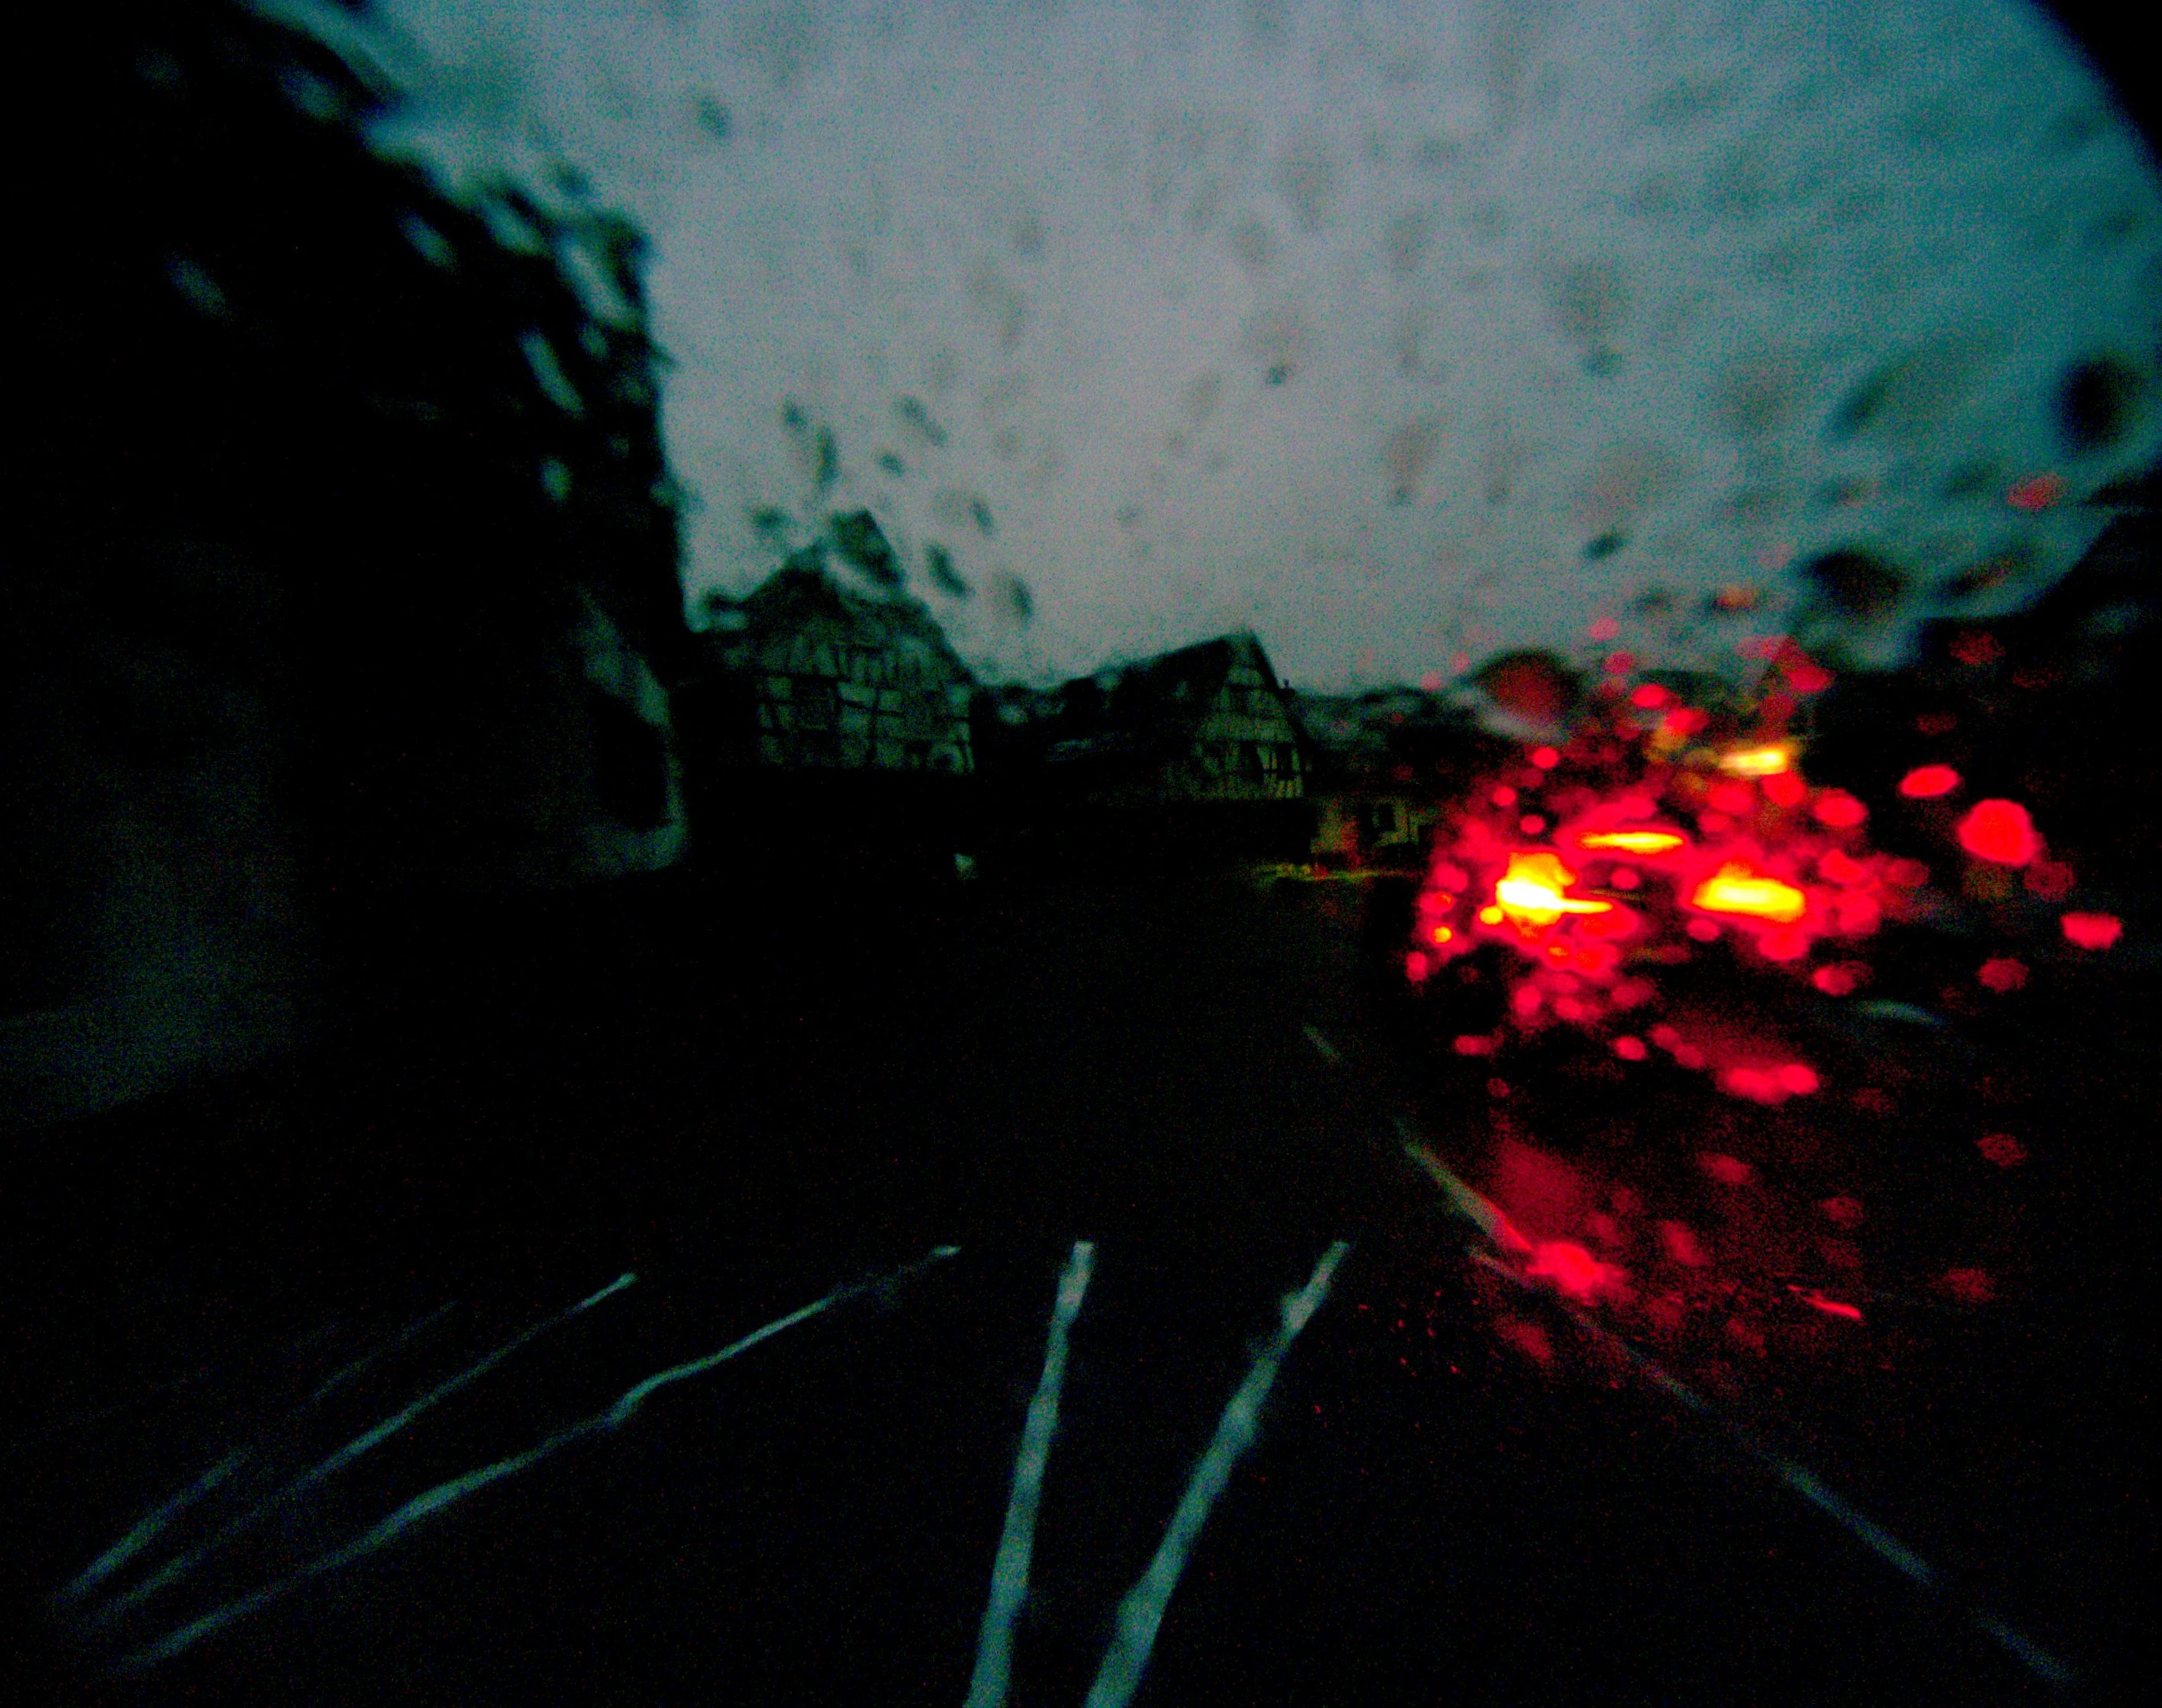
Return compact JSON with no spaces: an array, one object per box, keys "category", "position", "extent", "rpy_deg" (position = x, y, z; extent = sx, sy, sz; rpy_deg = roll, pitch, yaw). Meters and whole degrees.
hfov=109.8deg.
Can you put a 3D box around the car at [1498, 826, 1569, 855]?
[{"category":"car","position":[26.255,-0.825,44.175],"extent":[1.650,1.498,3.485],"rpy_deg":[-2,4,-10]}]

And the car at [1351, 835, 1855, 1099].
[{"category":"car","position":[4.013,0.671,6.987],"extent":[1.881,1.603,4.604],"rpy_deg":[-1,1,7]}]

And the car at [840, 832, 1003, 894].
[{"category":"car","position":[-4.297,0.260,20.582],"extent":[3.991,1.507,1.593],"rpy_deg":[2,2,-27]}]

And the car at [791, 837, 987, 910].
[{"category":"car","position":[-4.332,0.428,17.093],"extent":[4.042,1.413,1.811],"rpy_deg":[2,2,-20]}]

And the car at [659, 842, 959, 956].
[{"category":"car","position":[-3.994,0.642,11.486],"extent":[3.898,1.442,1.884],"rpy_deg":[2,2,-20]}]

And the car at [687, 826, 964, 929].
[{"category":"car","position":[-4.594,0.418,13.963],"extent":[4.482,1.651,1.851],"rpy_deg":[2,2,-22]}]
